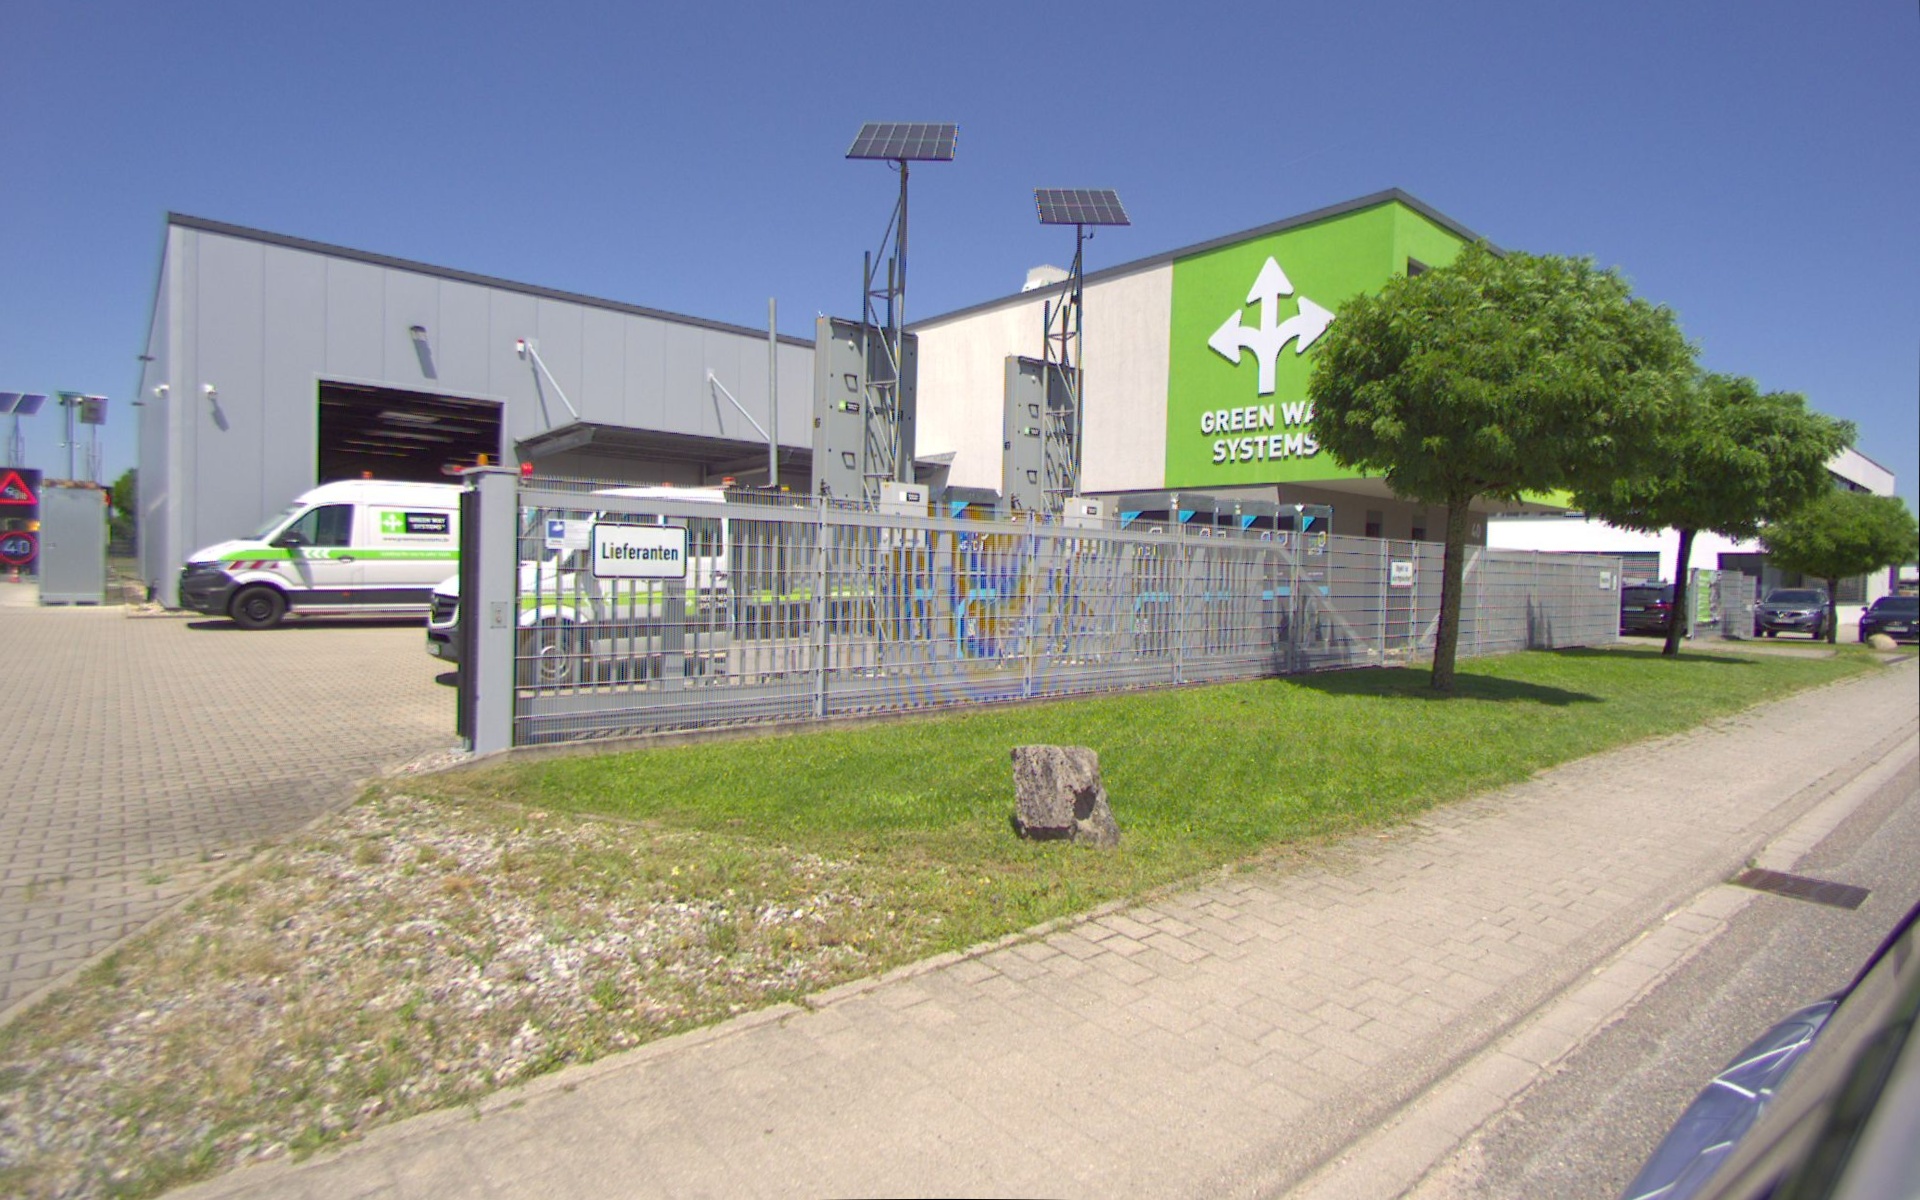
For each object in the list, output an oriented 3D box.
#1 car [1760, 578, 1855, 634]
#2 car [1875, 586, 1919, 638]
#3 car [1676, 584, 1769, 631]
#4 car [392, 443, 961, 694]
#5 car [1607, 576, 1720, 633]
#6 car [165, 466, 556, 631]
[{"bbox_3d":[27.017,0.168,32.231,3.952,1.653,1.726,0,1,-41],"label":"car"},{"bbox_3d":[28.666,0.332,30.077,4.172,1.446,1.695,0,1,-41],"label":"car"},{"bbox_3d":[25.708,0.224,34.081,3.952,1.467,1.726,0,1,-41],"label":"car"},{"bbox_3d":[-3.327,-0.414,13.275,6.902,2.524,2.134,0,4,-41],"label":"car"},{"bbox_3d":[20.244,0.063,29.082,3.985,1.415,1.741,-3,4,-41],"label":"car"},{"bbox_3d":[-10.542,-0.878,18.128,5.758,2.524,2.134,0,4,-41],"label":"car"}]
